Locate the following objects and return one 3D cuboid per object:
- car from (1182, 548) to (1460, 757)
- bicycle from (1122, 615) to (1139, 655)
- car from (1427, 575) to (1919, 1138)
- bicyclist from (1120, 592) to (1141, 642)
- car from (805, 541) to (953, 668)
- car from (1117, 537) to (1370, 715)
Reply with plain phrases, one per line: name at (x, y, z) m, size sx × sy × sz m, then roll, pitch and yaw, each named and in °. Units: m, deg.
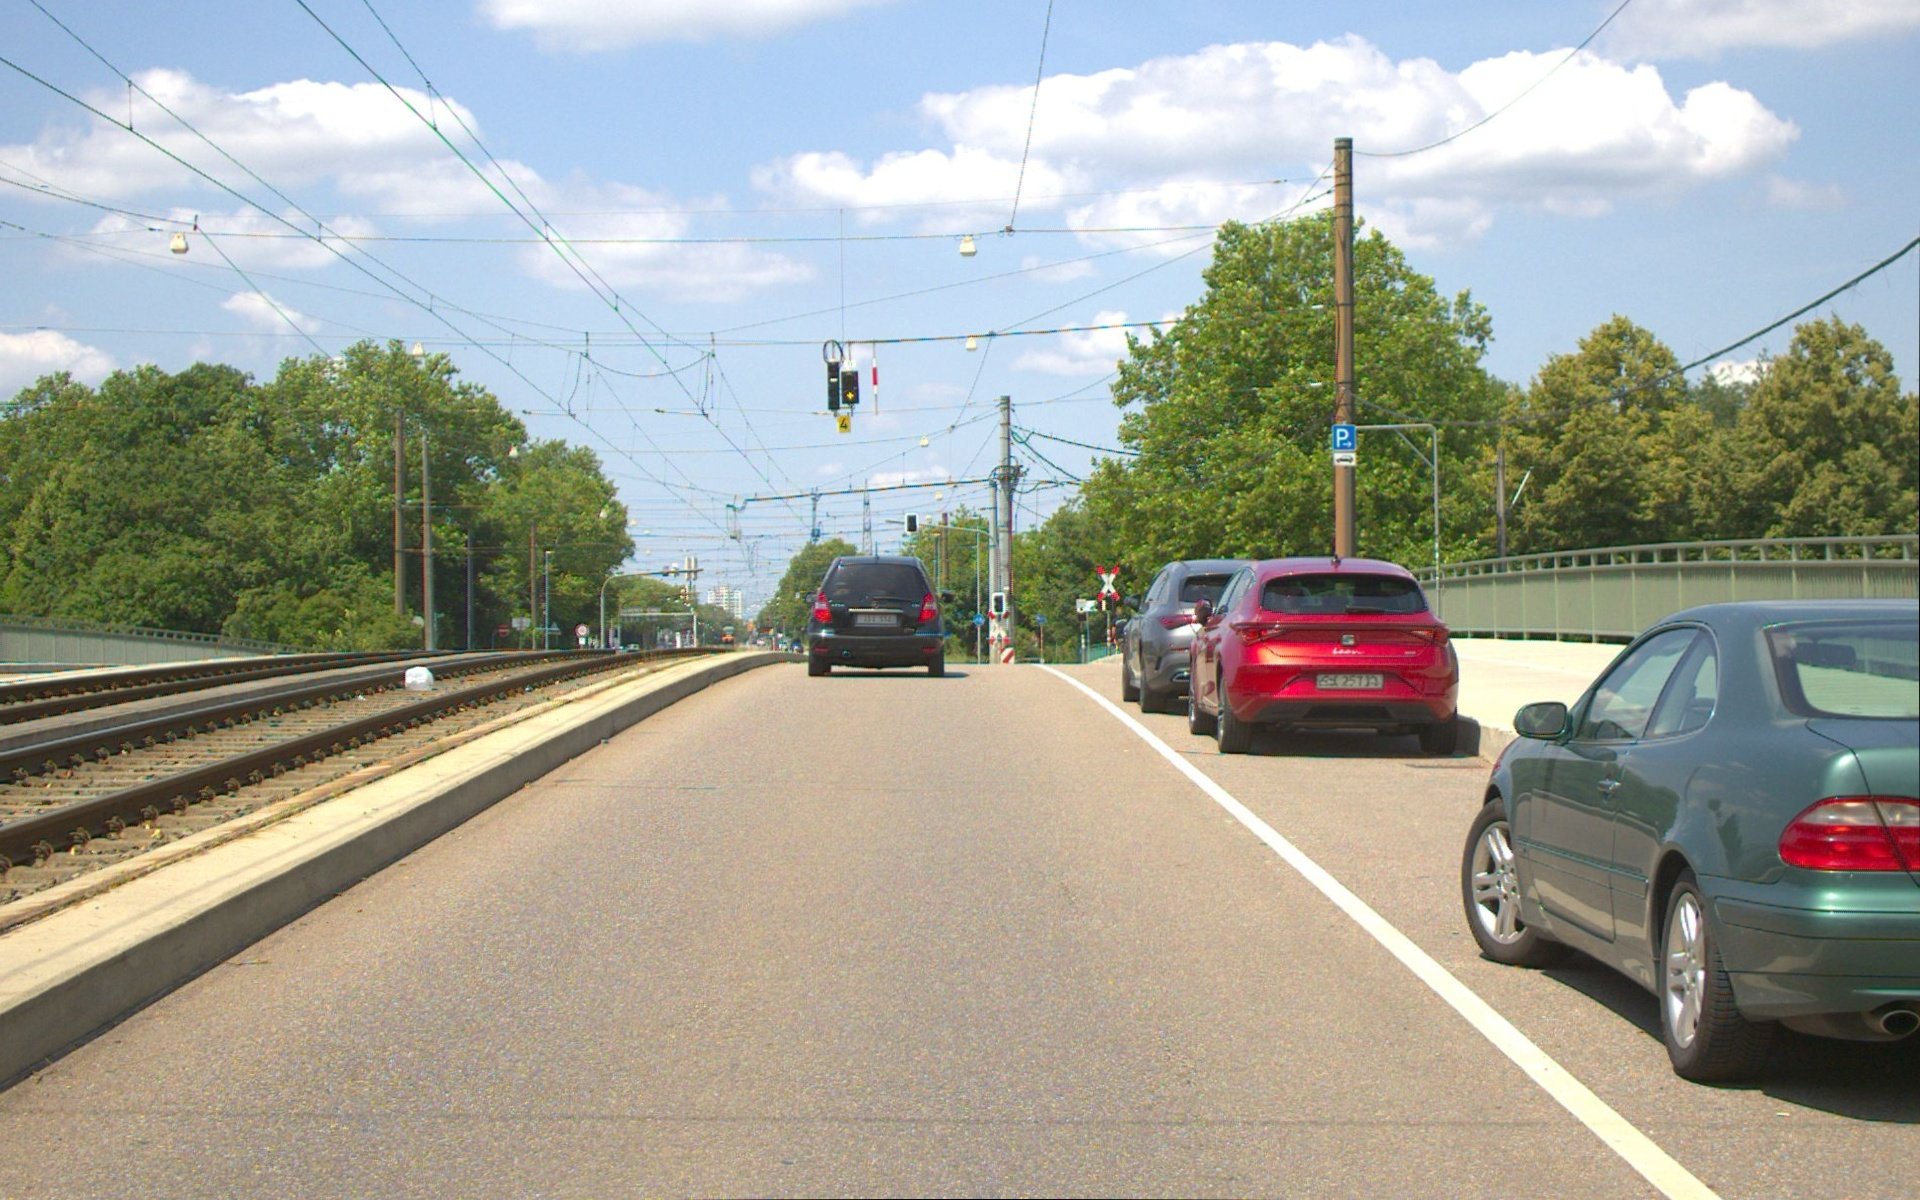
car at (2.722, 0.344, 26.764) m, size 1.647 × 1.455 × 4.286 m, roll 1°, pitch 1°, yaw -1°
bicycle at (5.137, 1.055, 103.715) m, size 0.432 × 1.148 × 1.855 m, roll 1°, pitch 1°, yaw 1°
car at (2.757, 0.644, 11.024) m, size 1.684 × 1.354 × 4.593 m, roll 1°, pitch 1°, yaw -2°
bicyclist at (5.143, 0.515, 103.750) m, size 0.585 × 1.490 × 0.558 m, roll 1°, pitch 0°, yaw 1°
car at (-1.050, 0.019, 45.678) m, size 1.853 × 1.565 × 4.388 m, roll 1°, pitch 1°, yaw -1°
car at (2.638, 0.188, 33.044) m, size 1.993 × 1.546 × 4.722 m, roll 1°, pitch 1°, yaw 0°
